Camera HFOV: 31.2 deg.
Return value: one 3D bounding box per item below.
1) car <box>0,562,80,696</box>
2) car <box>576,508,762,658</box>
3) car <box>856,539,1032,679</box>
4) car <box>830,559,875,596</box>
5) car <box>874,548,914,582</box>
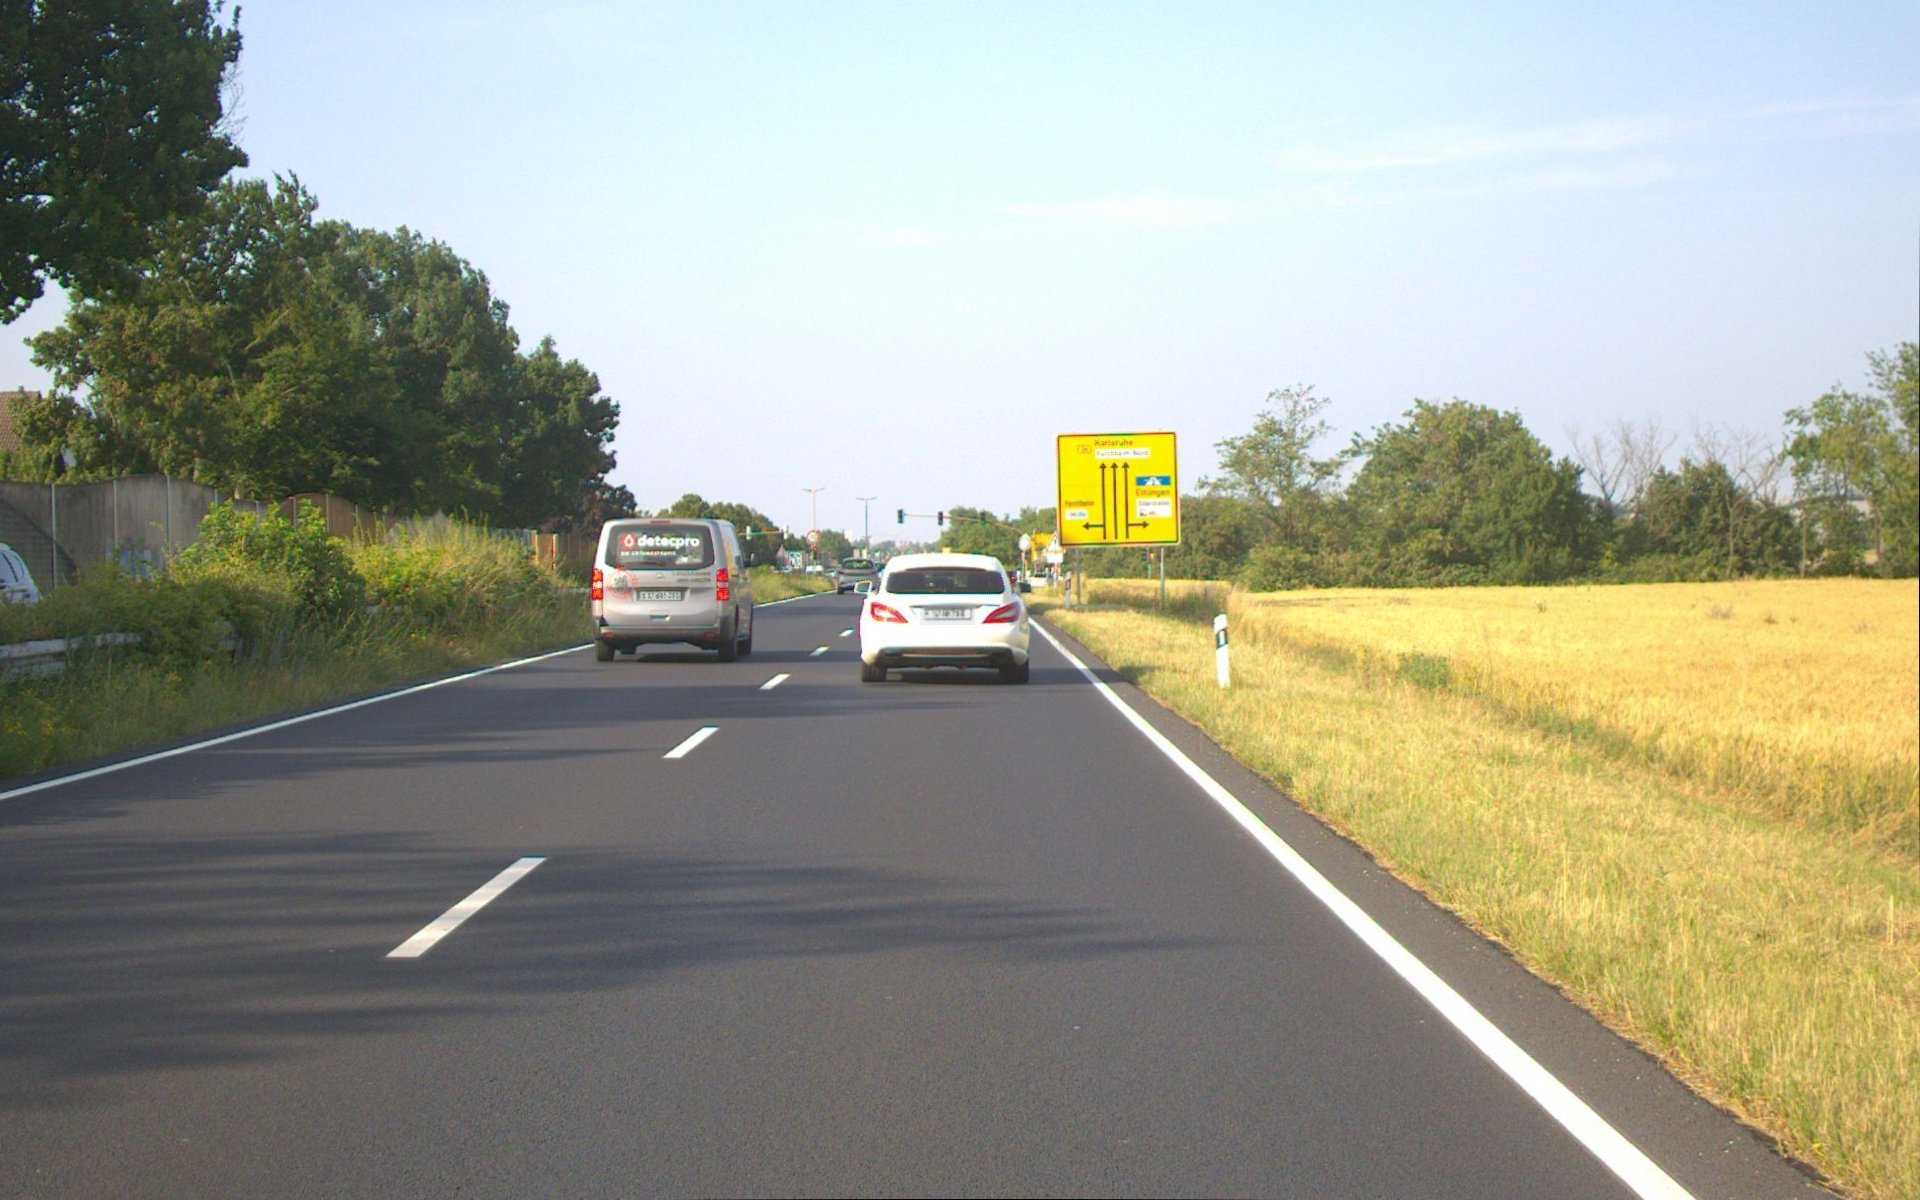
[{"bbox_3d":[-11.097,0.294,39.016,1.417,1.457,3.147,1,0,0],"label":"car"},{"bbox_3d":[-3.857,-0.263,46.353,2.025,1.885,4.958,1,1,0],"label":"car"},{"bbox_3d":[-0.192,0.081,39.034,1.894,1.503,4.000,0,0,-1],"label":"car"},{"bbox_3d":[-4.364,-0.925,140.099,1.717,1.487,3.584,1,0,0],"label":"car"},{"bbox_3d":[-3.259,-1.712,169.014,1.877,1.645,3.664,1,0,-2],"label":"car"}]
